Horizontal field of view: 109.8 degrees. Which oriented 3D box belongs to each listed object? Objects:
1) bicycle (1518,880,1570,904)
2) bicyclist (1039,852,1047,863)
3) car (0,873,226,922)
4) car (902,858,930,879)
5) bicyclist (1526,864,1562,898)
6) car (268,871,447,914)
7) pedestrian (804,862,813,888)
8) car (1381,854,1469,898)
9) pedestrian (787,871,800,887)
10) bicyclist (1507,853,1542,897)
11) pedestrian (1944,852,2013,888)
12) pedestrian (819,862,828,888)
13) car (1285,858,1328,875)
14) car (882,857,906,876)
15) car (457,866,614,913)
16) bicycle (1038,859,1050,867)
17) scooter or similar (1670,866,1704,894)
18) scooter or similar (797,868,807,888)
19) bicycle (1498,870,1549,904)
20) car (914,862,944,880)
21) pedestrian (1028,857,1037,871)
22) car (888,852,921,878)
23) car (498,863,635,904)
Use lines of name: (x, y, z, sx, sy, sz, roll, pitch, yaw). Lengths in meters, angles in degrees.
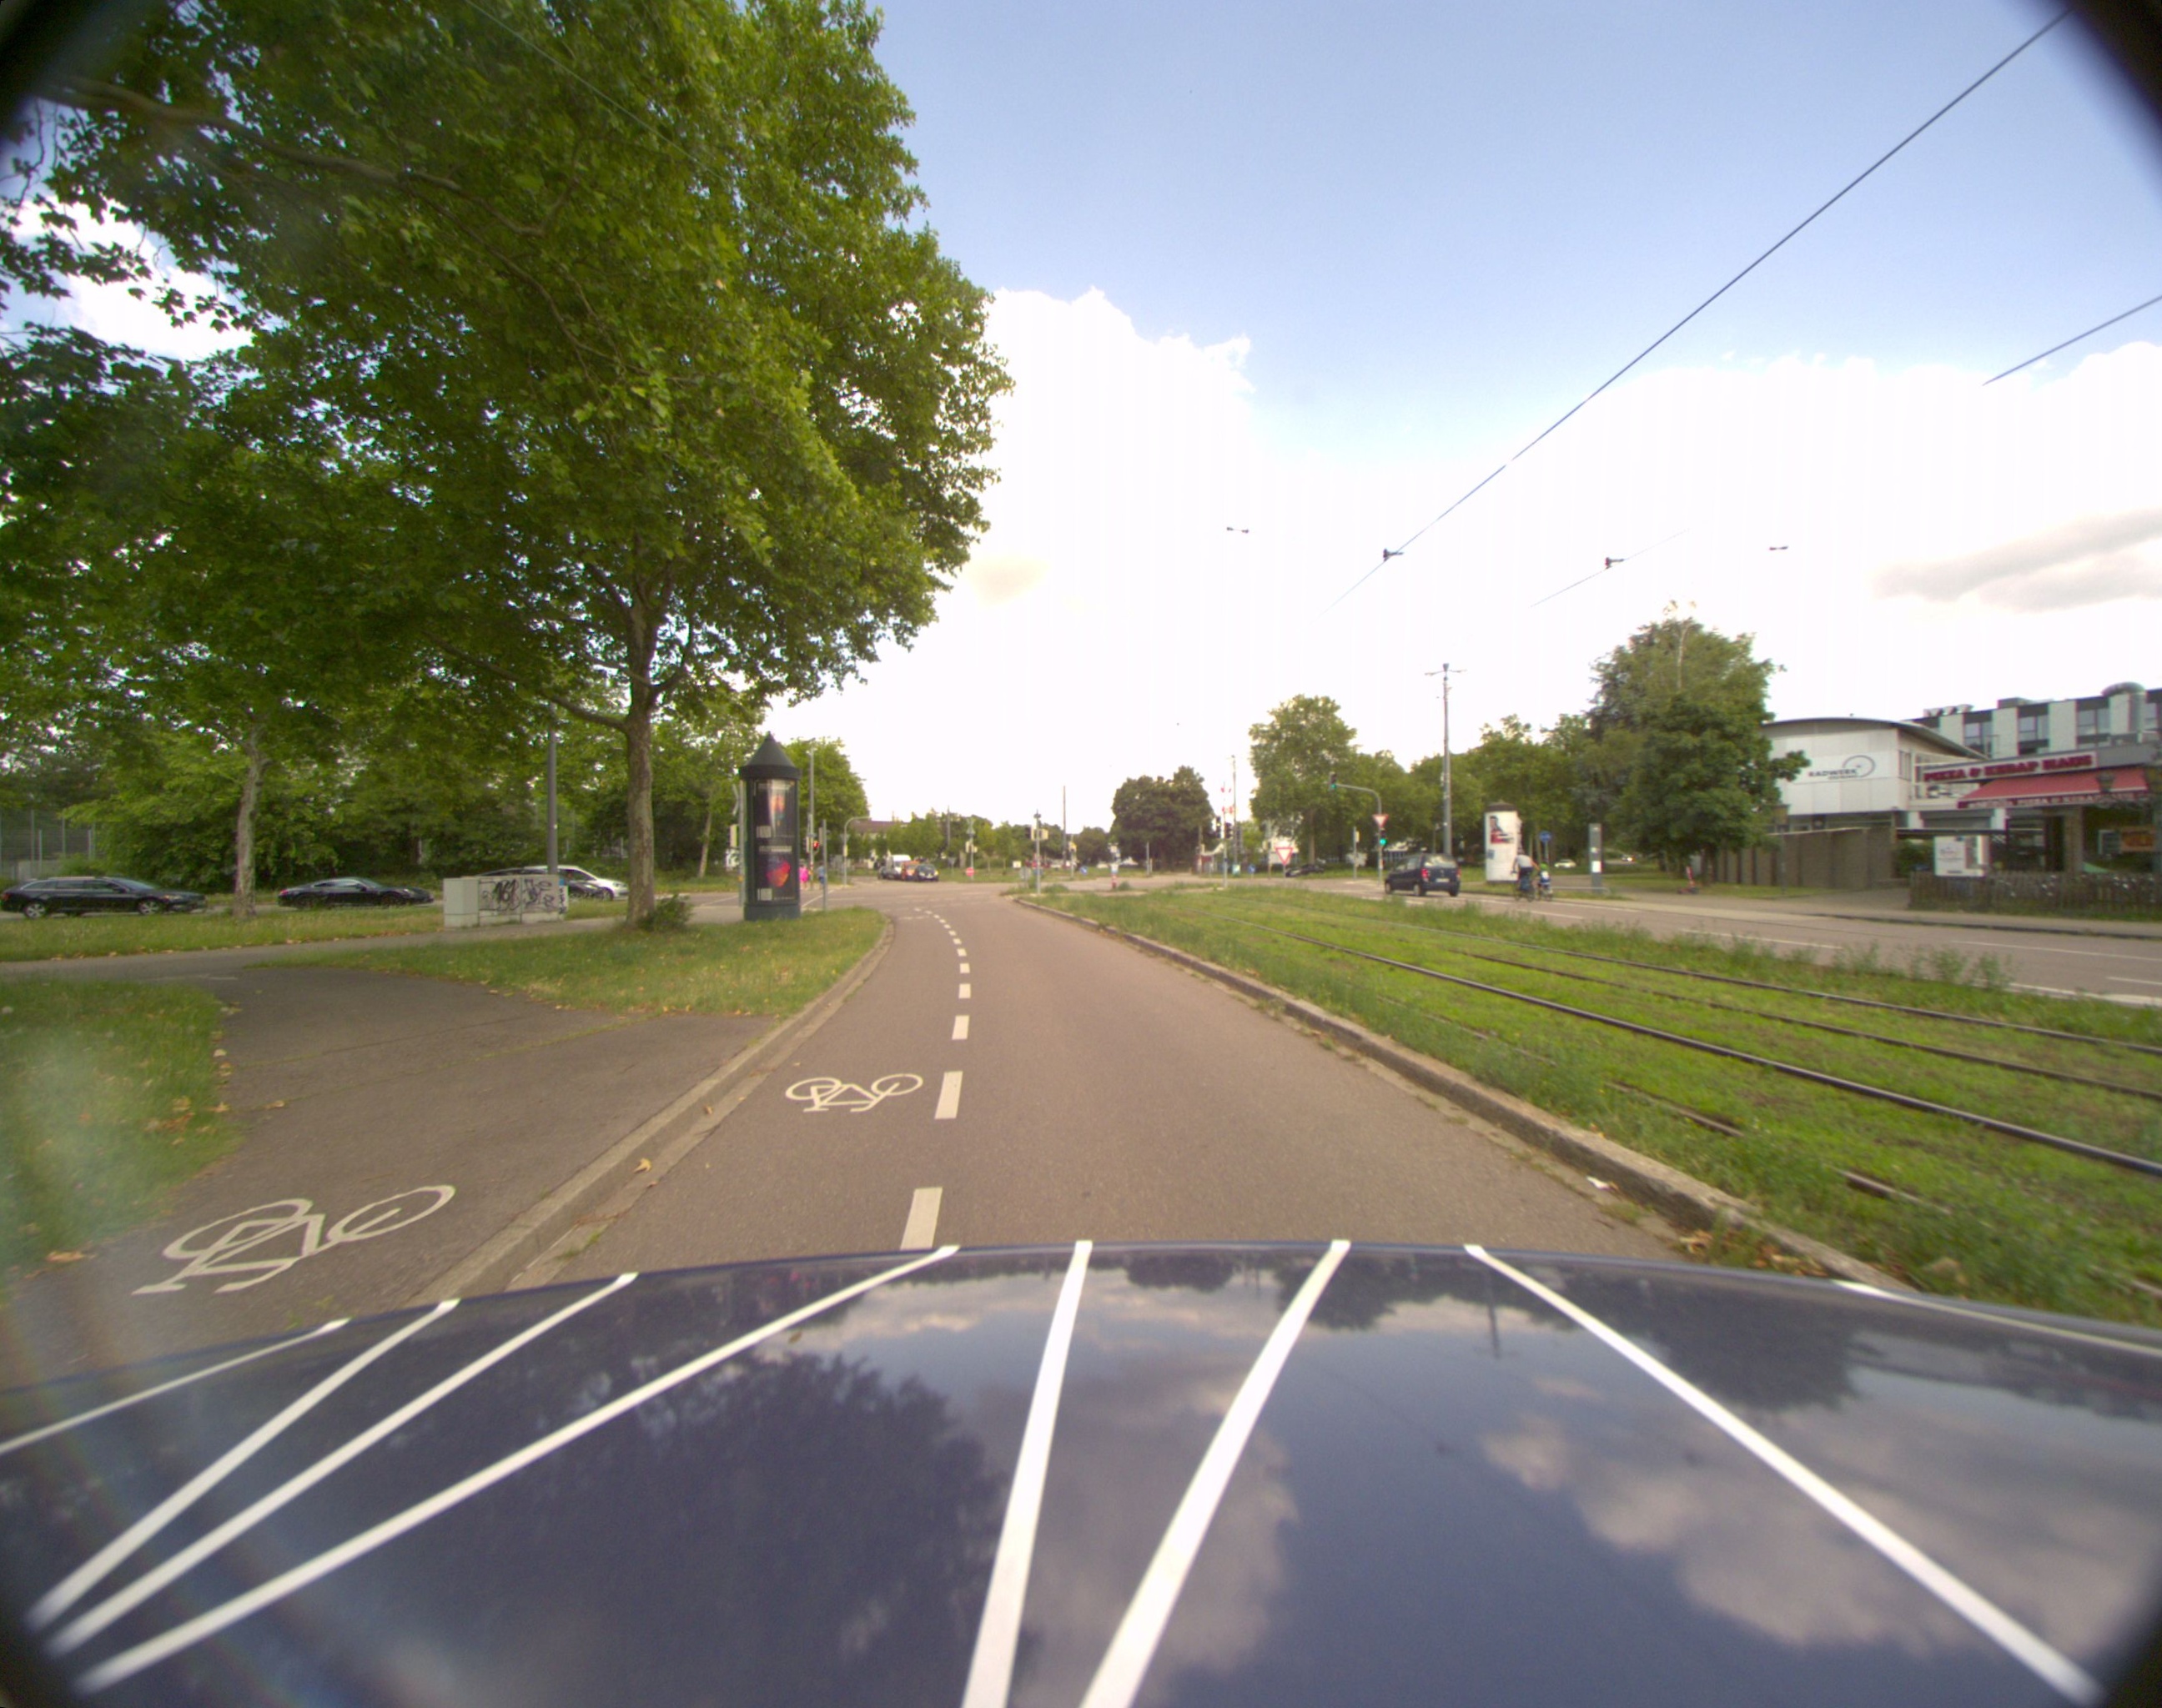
bicycle: (15.563, 1.278, 25.603, 0.647, 0.713, 1.805, -1, 0, -1)
bicyclist: (-5.047, 0.508, 101.218, 0.806, 1.461, 0.830, -1, -1, -28)
car: (-35.200, 1.537, 27.830, 4.693, 1.504, 1.996, -1, 1, -24)
car: (-15.805, 1.334, 72.476, 1.798, 1.924, 4.360, -2, 0, -23)
bicyclist: (15.559, 0.902, 25.542, 0.641, 1.106, 0.928, -1, 0, -1)
car: (-28.758, 1.495, 30.428, 4.755, 1.461, 1.996, -1, 1, -24)
pedestrian: (-15.839, 1.218, 44.197, 0.420, 1.499, 0.392, -1, 0, -25)
car: (13.479, 0.819, 29.984, 1.783, 1.617, 3.494, -1, 0, -2)
pedestrian: (-18.738, 1.636, 49.566, 0.723, 1.028, 0.900, -1, 0, -24)
bicyclist: (14.879, 0.707, 25.521, 0.624, 1.449, 0.928, -1, 0, 0)
pedestrian: (29.037, 0.515, 24.599, 1.156, 1.139, 0.932, -1, 0, -2)
pedestrian: (-15.000, 1.206, 44.263, 0.420, 1.499, 0.450, -1, 0, -25)
car: (20.771, 1.152, 69.946, 3.864, 1.515, 1.695, -1, 0, -36)
car: (-20.599, 1.354, 83.756, 1.798, 1.924, 4.360, -2, 0, -23)
car: (-21.377, 1.343, 30.043, 4.692, 1.601, 1.996, -1, 1, -24)
bicycle: (-4.937, 1.176, 101.046, 0.806, 1.053, 2.065, -1, -2, -28)
scooter or similar: (23.157, 1.001, 29.029, 0.427, 1.027, 1.223, -1, 0, 7)
scooter or similar: (-16.109, 1.375, 43.895, 0.396, 1.154, 1.114, -1, 0, -27)
bicycle: (14.885, 1.100, 25.596, 0.647, 1.073, 1.804, -1, 0, -1)
car: (-13.402, 1.488, 66.880, 1.798, 1.530, 3.993, -2, 0, -22)
pedestrian: (-6.506, 1.296, 101.902, 0.909, 1.857, 1.000, -1, 0, -26)
car: (-18.286, 1.111, 78.520, 2.243, 2.492, 5.715, -2, 0, -24)
car: (-22.563, 1.262, 33.560, 4.693, 1.601, 1.996, -1, 1, -24)
